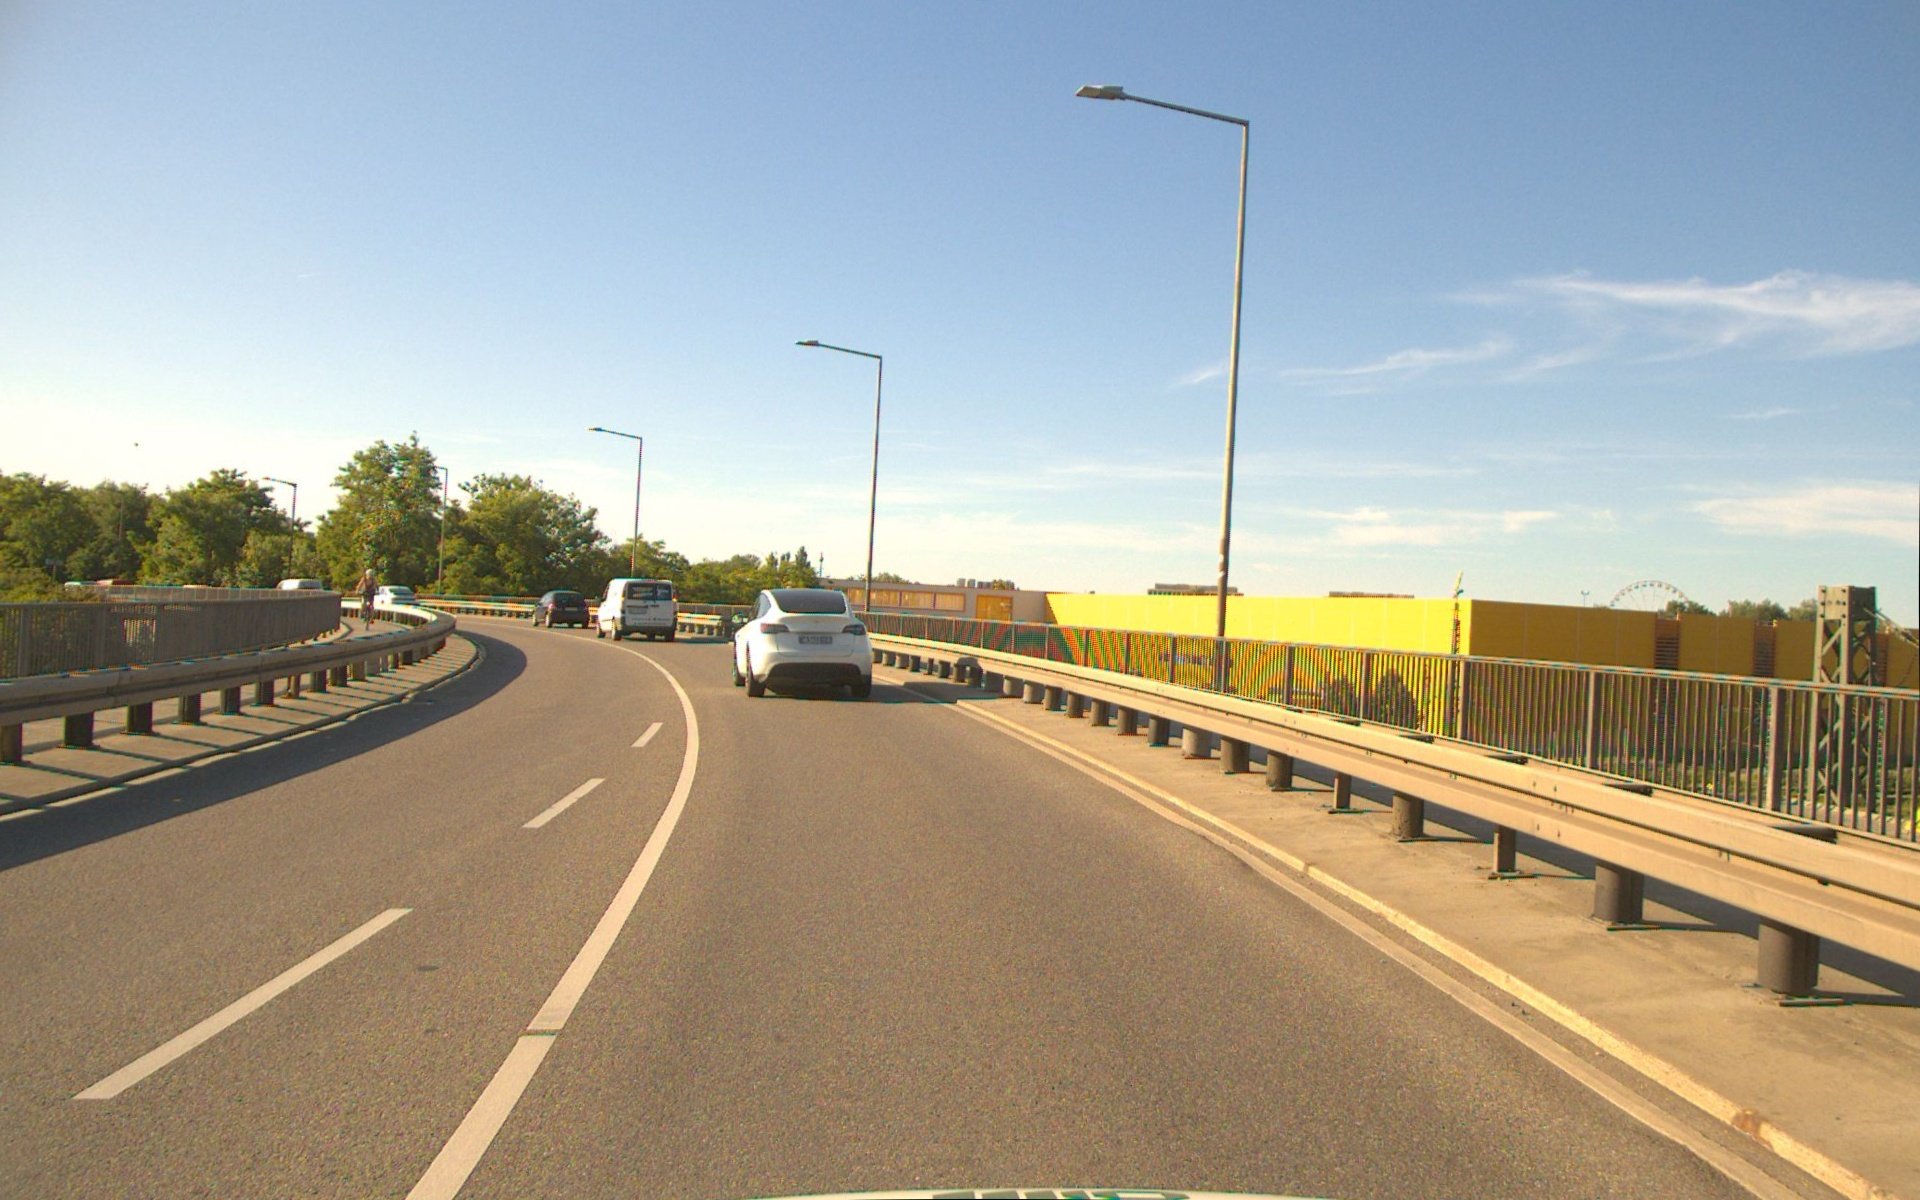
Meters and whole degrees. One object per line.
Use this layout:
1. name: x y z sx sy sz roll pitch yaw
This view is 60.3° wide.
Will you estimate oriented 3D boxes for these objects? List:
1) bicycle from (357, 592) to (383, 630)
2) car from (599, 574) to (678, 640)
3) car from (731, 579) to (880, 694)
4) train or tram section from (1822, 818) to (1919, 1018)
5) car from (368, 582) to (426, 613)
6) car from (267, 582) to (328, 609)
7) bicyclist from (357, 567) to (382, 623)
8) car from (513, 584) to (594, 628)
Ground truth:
1. bicycle: -17.339 0.314 48.561 0.644 1.083 1.878 1 0 -21
2. car: -10.136 0.211 51.964 1.973 1.974 4.446 1 0 -17
3. car: -2.533 0.536 26.264 1.950 1.666 4.051 0 0 -12
4. train or tram section: 35.413 9.786 53.388 16.582 5.353 3.316 1 0 -21
5. car: -30.356 -0.119 89.171 1.845 1.613 3.863 1 0 -37
6. car: -40.485 -0.299 101.054 3.820 1.583 1.832 1 0 40
7. bicyclist: -17.314 -0.153 48.519 0.644 1.617 0.763 1 0 -22
8. car: -16.147 0.235 65.634 1.951 1.666 3.954 0 0 -33
